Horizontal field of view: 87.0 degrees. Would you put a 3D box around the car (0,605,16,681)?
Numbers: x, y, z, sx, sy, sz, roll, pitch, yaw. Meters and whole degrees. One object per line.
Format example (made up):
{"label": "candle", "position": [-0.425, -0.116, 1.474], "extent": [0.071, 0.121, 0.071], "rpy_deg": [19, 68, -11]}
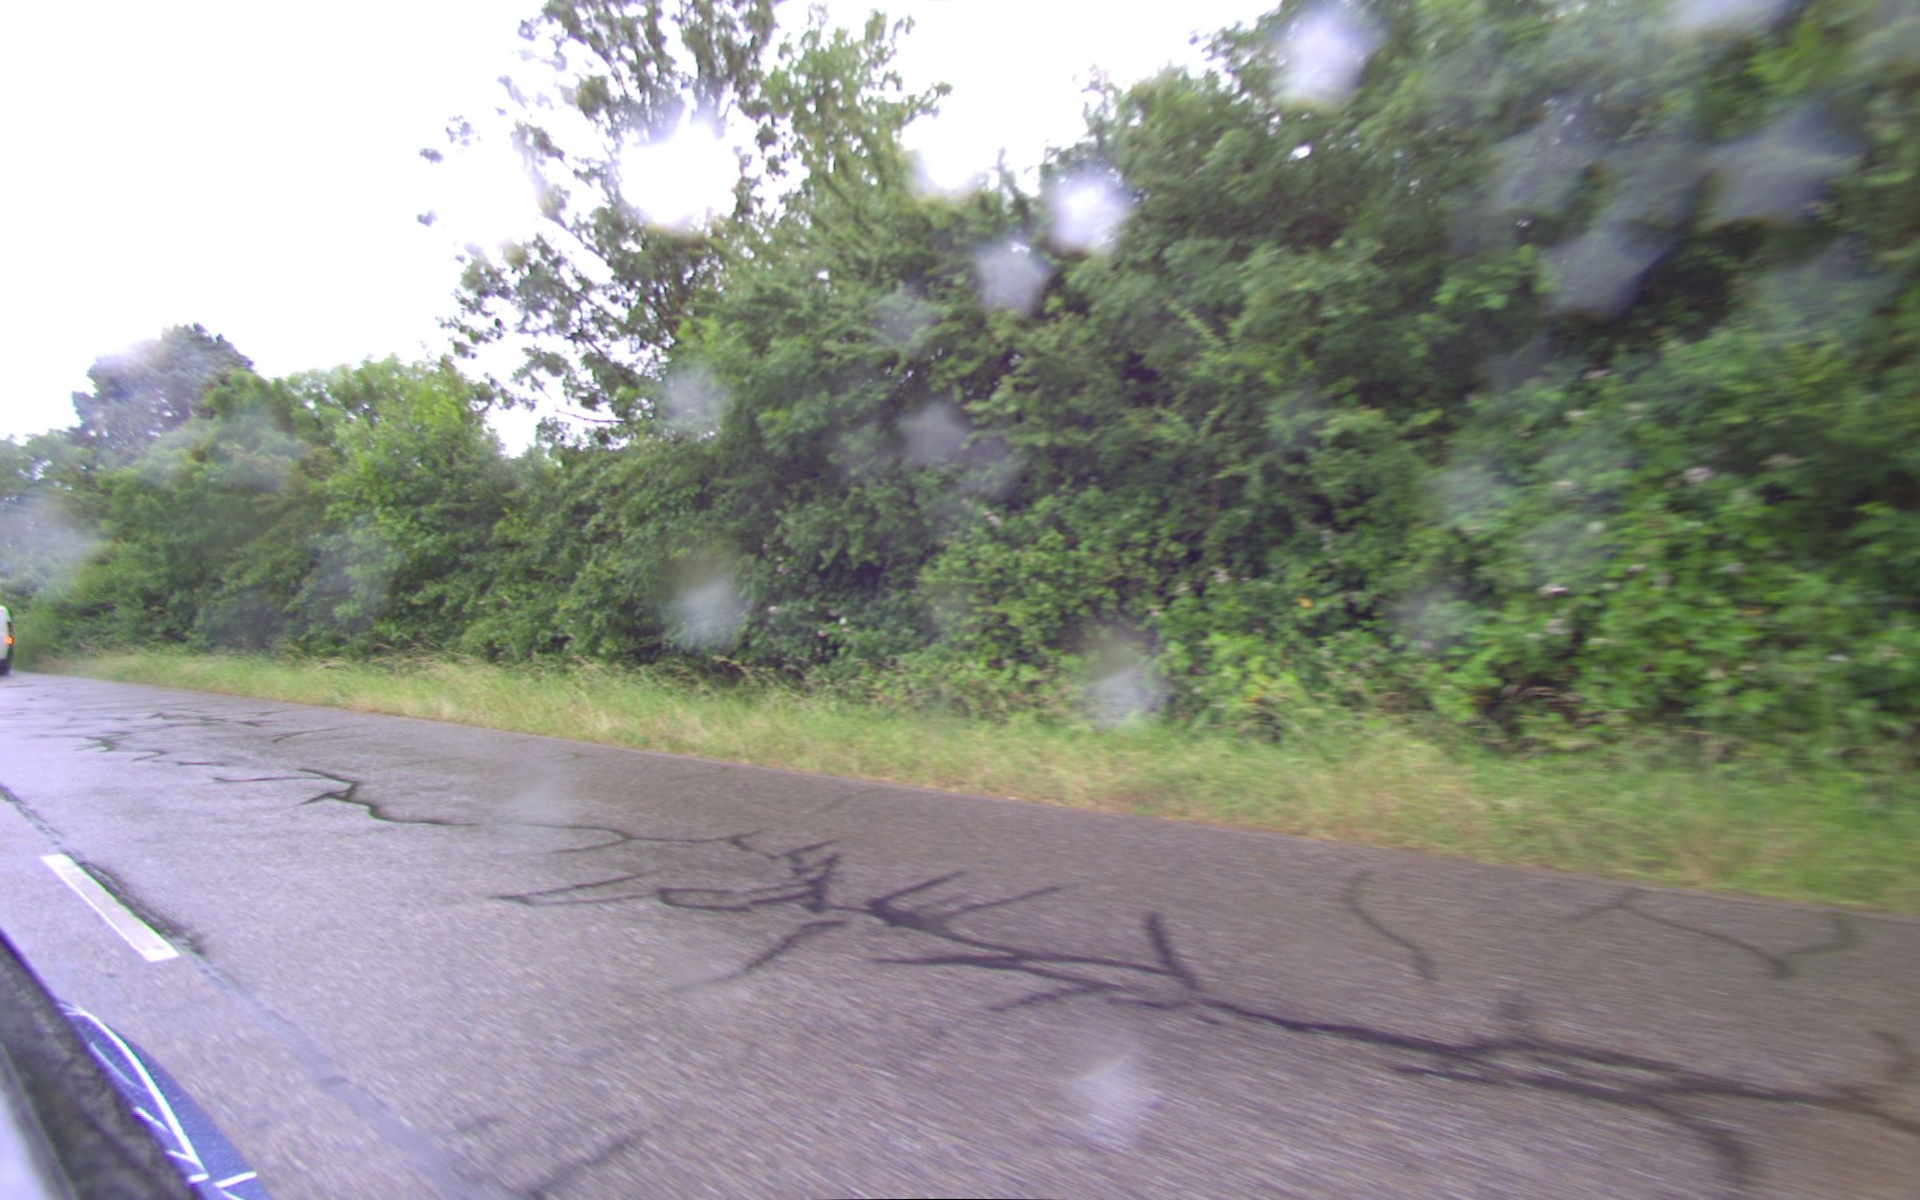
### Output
{"label": "car", "position": [-25.876, 1.095, 25.613], "extent": [3.939, 1.878, 1.819], "rpy_deg": [-1, 0, 30]}
